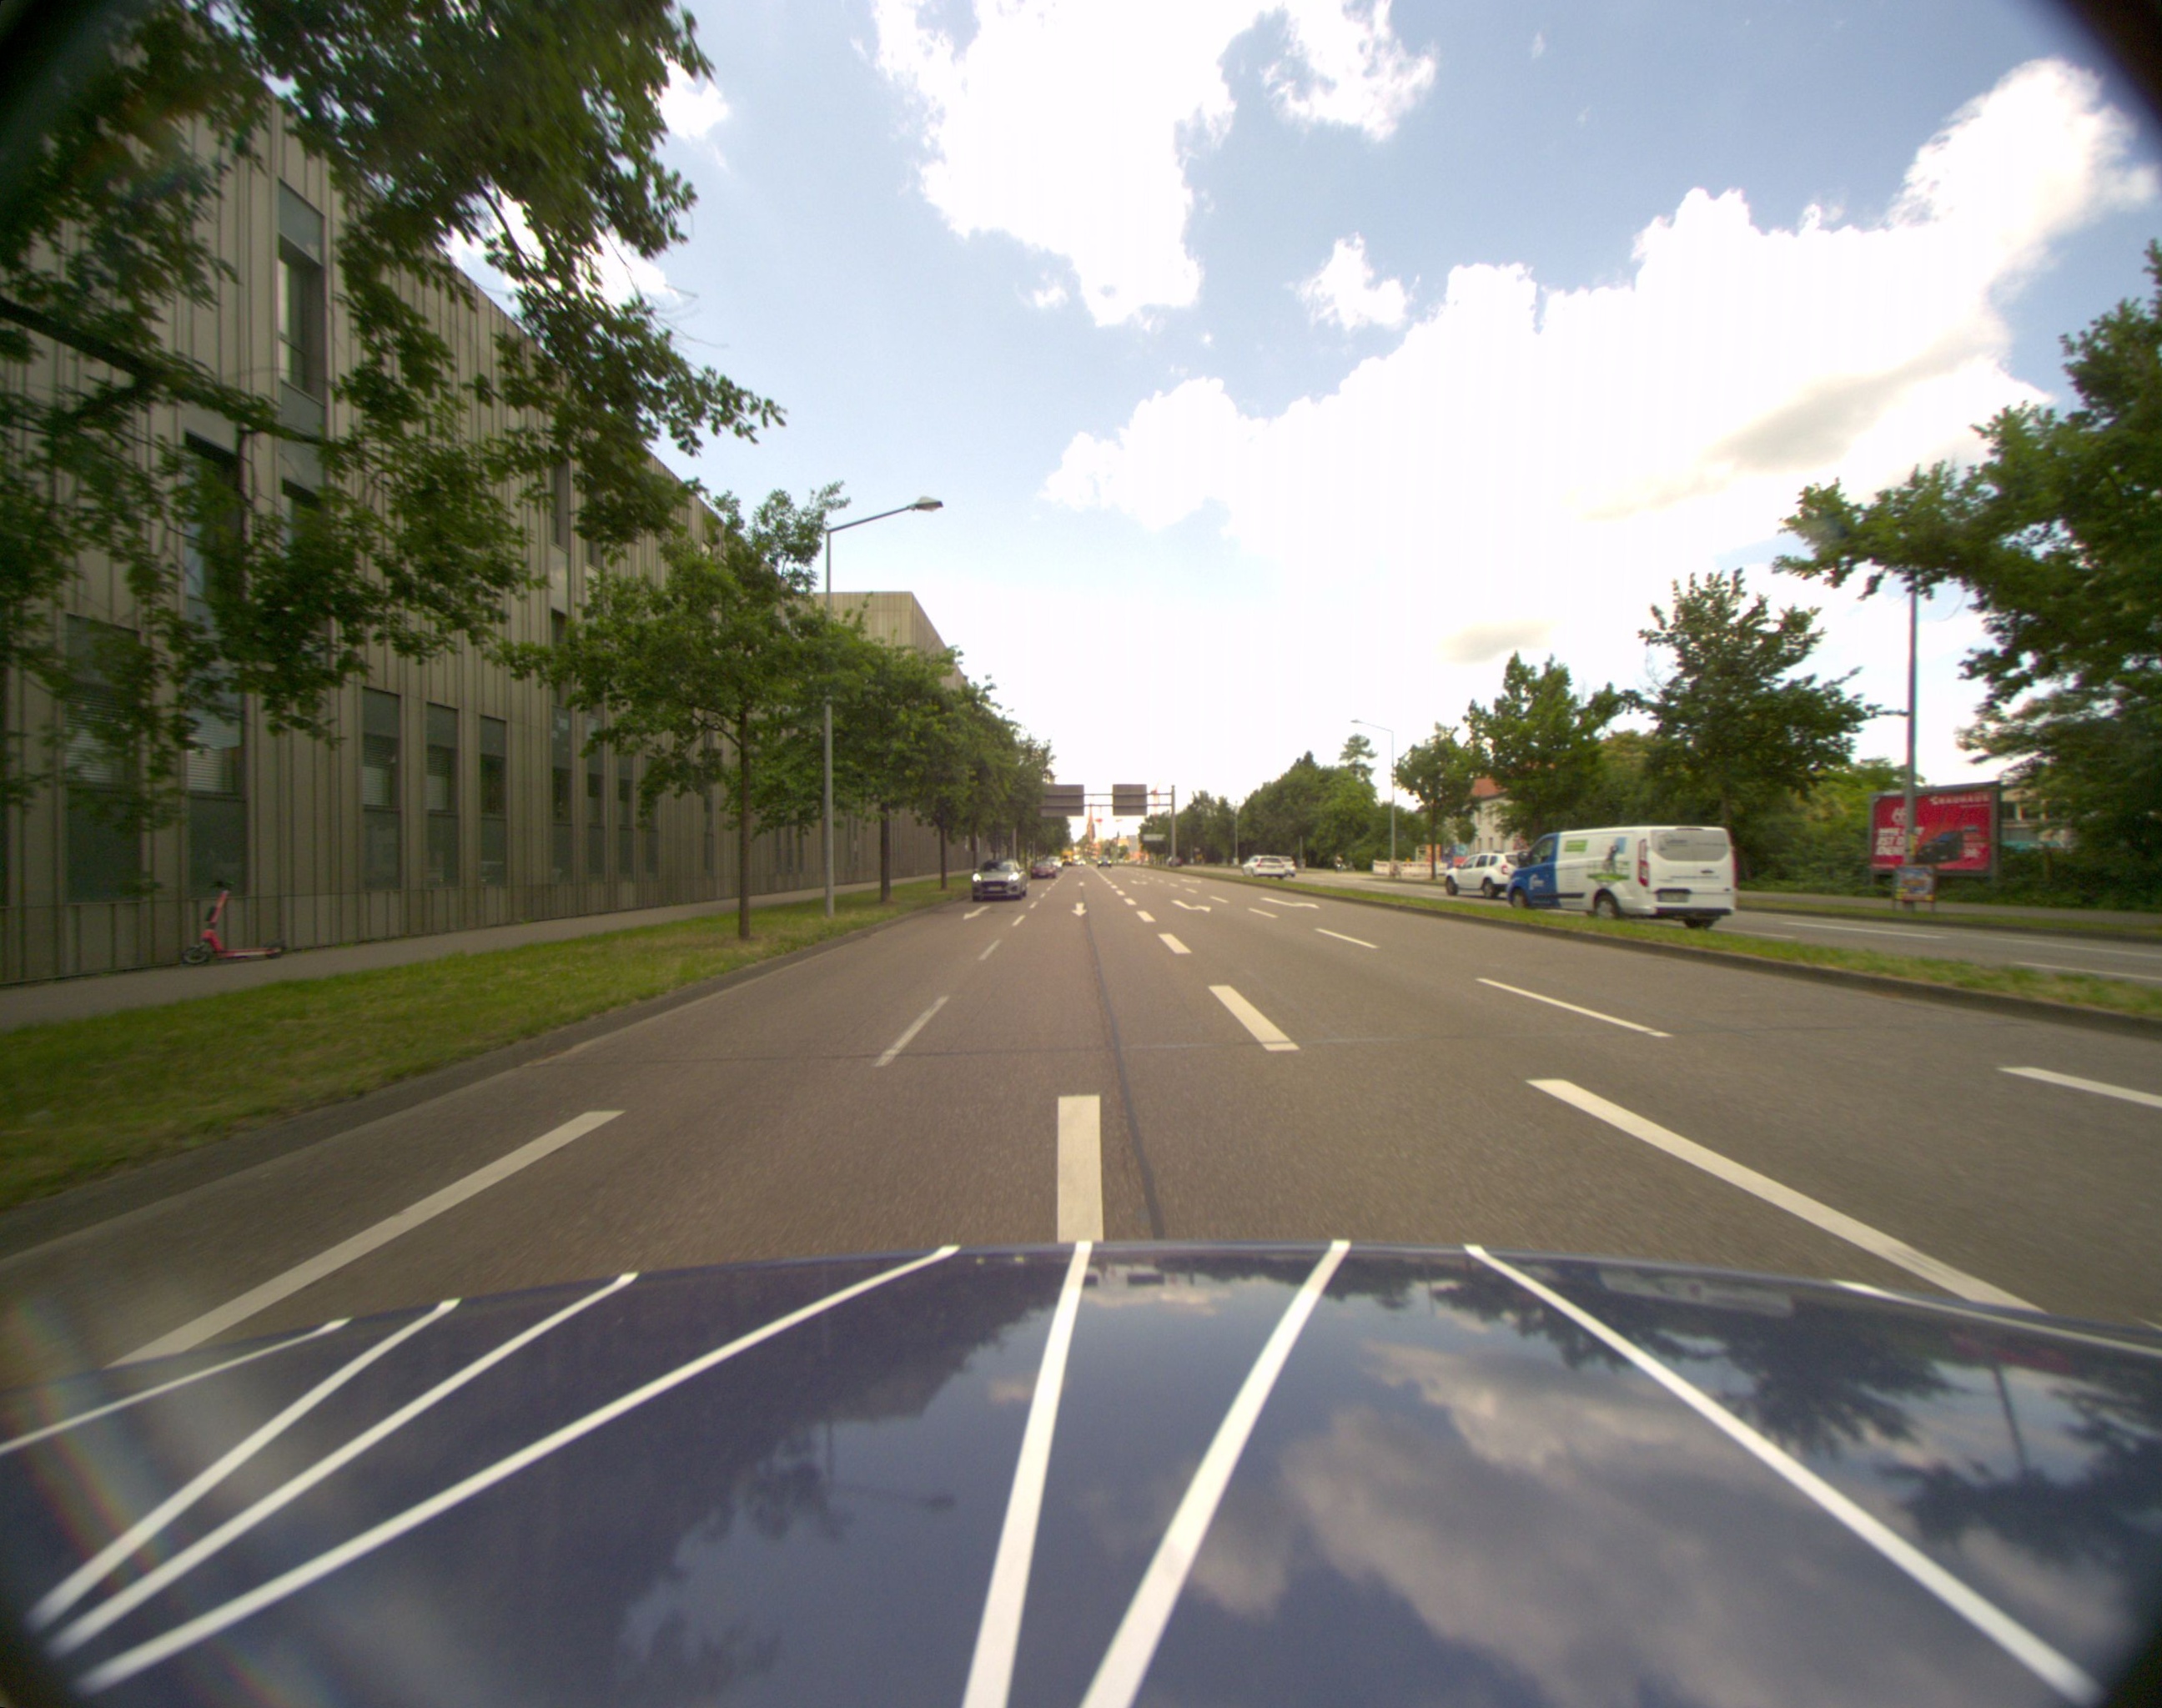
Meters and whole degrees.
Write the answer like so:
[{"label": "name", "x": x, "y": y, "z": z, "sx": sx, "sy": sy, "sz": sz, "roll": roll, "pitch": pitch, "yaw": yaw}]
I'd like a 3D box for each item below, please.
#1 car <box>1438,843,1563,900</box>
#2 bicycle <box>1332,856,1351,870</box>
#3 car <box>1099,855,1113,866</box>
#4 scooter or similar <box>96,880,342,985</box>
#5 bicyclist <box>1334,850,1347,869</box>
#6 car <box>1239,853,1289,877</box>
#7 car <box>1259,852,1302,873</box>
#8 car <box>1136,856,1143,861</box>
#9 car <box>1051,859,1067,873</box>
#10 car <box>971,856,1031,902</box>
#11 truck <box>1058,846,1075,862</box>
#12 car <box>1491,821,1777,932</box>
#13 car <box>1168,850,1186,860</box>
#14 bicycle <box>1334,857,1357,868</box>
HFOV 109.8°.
[{"label": "car", "x": 14.604, "y": 0.568, "z": 26.775, "sx": 1.998, "sy": 1.791, "sz": 4.409, "roll": 1, "pitch": 0, "yaw": 1}, {"label": "bicycle", "x": 22.498, "y": 0.743, "z": 65.608, "sx": 0.752, "sy": 1.155, "sz": 2.257, "roll": 0, "pitch": 0, "yaw": -4}, {"label": "car", "x": 3.311, "y": 0.860, "z": 100.459, "sx": 1.782, "sy": 1.487, "sz": 3.598, "roll": 0, "pitch": 0, "yaw": 0}, {"label": "scooter or similar", "x": -12.251, "y": 1.051, "z": 10.974, "sx": 0.706, "sy": 1.239, "sz": 2.479, "roll": 1, "pitch": 0, "yaw": 1}, {"label": "bicyclist", "x": 22.476, "y": 0.489, "z": 65.908, "sx": 0.740, "sy": 1.648, "sz": 0.980, "roll": 0, "pitch": 0, "yaw": -4}, {"label": "car", "x": 11.411, "y": 0.626, "z": 47.731, "sx": 1.998, "sy": 1.423, "sz": 5.024, "roll": 0, "pitch": 0, "yaw": 1}, {"label": "car", "x": 14.646, "y": 0.595, "z": 56.070, "sx": 1.919, "sy": 1.434, "sz": 4.414, "roll": 2, "pitch": 0, "yaw": -1}, {"label": "car", "x": 17.212, "y": 1.198, "z": 223.261, "sx": 1.713, "sy": 1.487, "sz": 3.697, "roll": 0, "pitch": 0, "yaw": 1}, {"label": "car", "x": -2.411, "y": 1.308, "z": 83.598, "sx": 1.713, "sy": 1.487, "sz": 3.650, "roll": 0, "pitch": 0, "yaw": 0}, {"label": "car", "x": -2.974, "y": 0.907, "z": 29.035, "sx": 1.823, "sy": 1.565, "sz": 3.954, "roll": -2, "pitch": 0, "yaw": 0}, {"label": "truck", "x": -2.750, "y": -0.006, "z": 144.794, "sx": 3.066, "sy": 3.095, "sz": 7.934, "roll": 0, "pitch": 0, "yaw": 0}, {"label": "car", "x": 11.211, "y": 0.399, "z": 16.063, "sx": 2.196, "sy": 1.952, "sz": 5.193, "roll": 0, "pitch": 0, "yaw": -1}, {"label": "car", "x": 13.789, "y": 0.138, "z": 109.377, "sx": 1.964, "sy": 1.508, "sz": 4.909, "roll": 0, "pitch": 0, "yaw": 0}, {"label": "bicycle", "x": 26.110, "y": 0.798, "z": 75.024, "sx": 0.665, "sy": 1.009, "sz": 2.143, "roll": 0, "pitch": 1, "yaw": -45}]
